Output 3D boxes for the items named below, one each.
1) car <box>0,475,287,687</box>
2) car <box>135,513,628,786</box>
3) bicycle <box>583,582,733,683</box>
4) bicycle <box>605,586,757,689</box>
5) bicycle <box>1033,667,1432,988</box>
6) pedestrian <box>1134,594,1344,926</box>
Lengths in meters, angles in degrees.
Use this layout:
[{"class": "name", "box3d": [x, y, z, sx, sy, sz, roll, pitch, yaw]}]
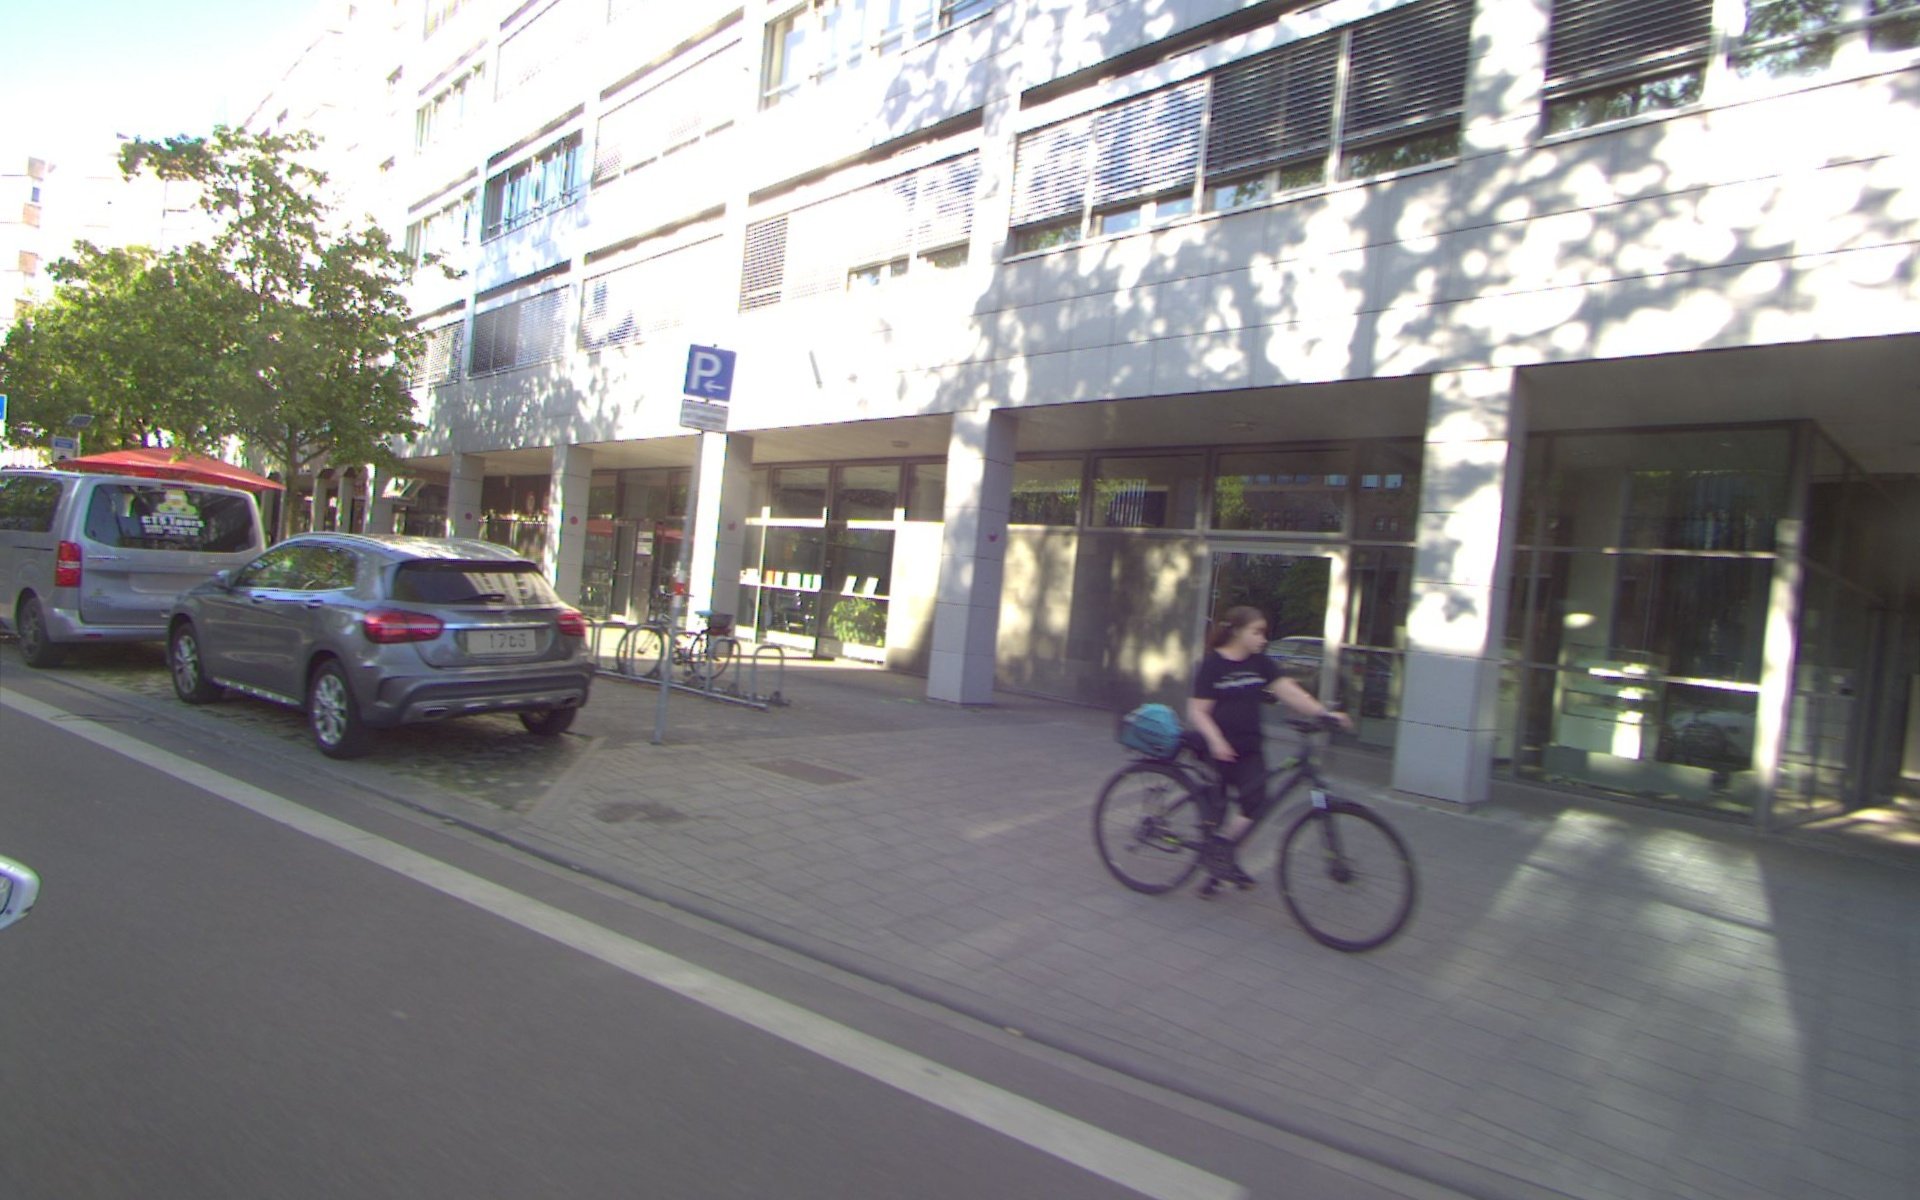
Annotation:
[{"class": "car", "box3d": [-9.664, -0.328, 11.074, 4.844, 1.868, 1.922, 5, 2, 32]}, {"class": "car", "box3d": [-4.906, 0.226, 8.303, 4.346, 1.594, 1.857, 6, 2, 35]}, {"class": "bicycle", "box3d": [-3.788, 0.431, 12.763, 0.463, 1.167, 1.830, 7, 2, 37]}, {"class": "bicycle", "box3d": [-3.419, 0.477, 12.475, 0.463, 1.167, 1.830, 7, 2, 37]}, {"class": "bicycle", "box3d": [1.365, 1.074, 5.263, 1.818, 1.180, 0.610, 7, 5, 35]}, {"class": "pedestrian", "box3d": [1.551, 0.827, 5.605, 0.824, 1.634, 0.604, 7, 5, 34]}]
